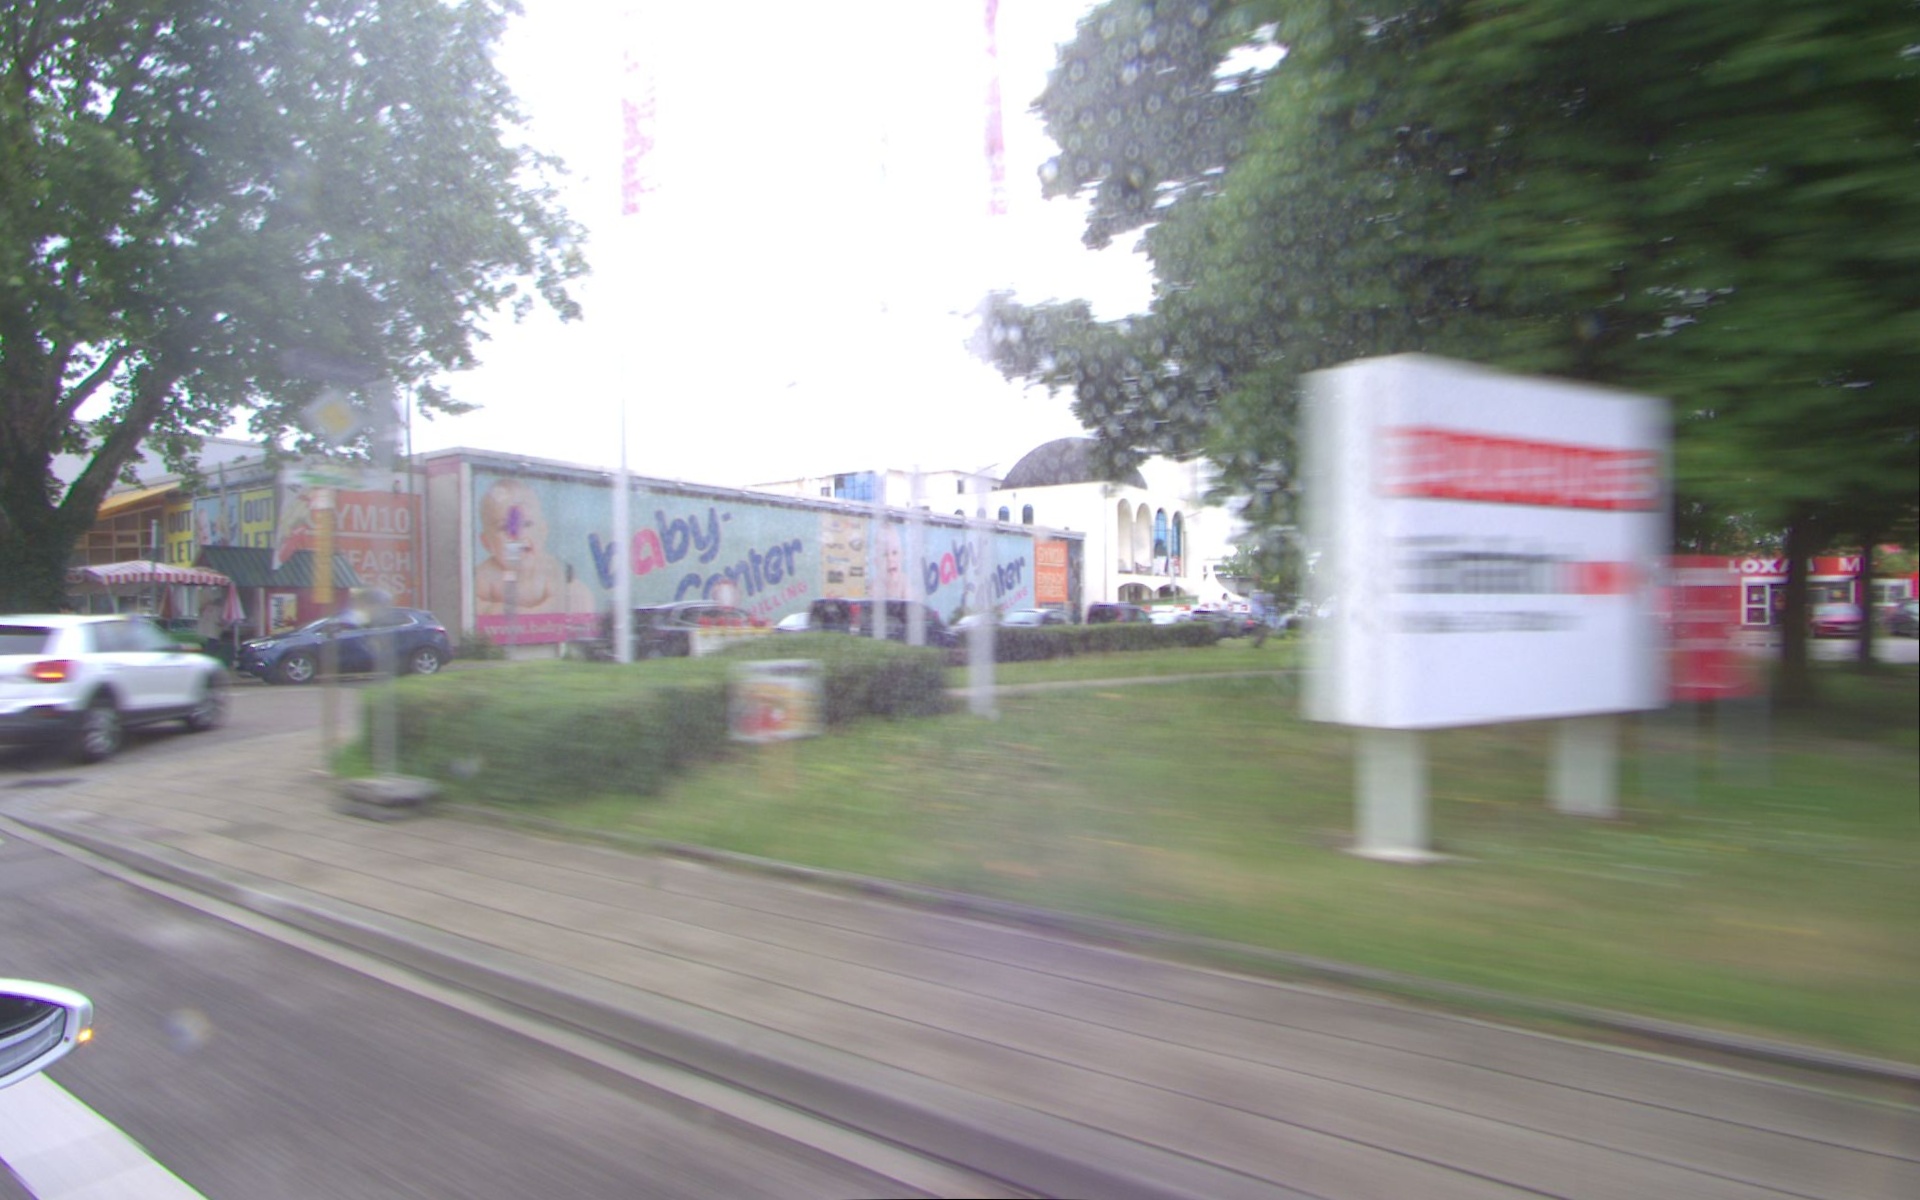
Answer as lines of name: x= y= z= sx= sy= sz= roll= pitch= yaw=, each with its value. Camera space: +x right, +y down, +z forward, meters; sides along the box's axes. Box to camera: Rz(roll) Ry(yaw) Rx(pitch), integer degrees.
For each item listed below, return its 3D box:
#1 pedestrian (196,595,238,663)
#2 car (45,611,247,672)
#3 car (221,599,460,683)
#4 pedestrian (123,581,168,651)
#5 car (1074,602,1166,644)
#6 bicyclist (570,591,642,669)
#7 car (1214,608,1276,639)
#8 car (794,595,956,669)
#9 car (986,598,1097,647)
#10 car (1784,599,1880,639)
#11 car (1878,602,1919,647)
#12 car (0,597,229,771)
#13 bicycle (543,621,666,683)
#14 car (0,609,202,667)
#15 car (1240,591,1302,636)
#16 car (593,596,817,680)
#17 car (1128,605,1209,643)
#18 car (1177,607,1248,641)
pedestrian: x=-19.238 y=0.730 z=25.917 sx=0.590 sy=1.727 sz=0.678 roll=0 pitch=1 yaw=31
car: x=-23.411 y=1.148 z=28.967 sx=1.764 sy=1.572 sz=4.206 roll=-1 pitch=0 yaw=30
car: x=-13.904 y=0.849 z=22.654 sx=1.970 sy=1.699 sz=4.192 roll=-1 pitch=0 yaw=41
pedestrian: x=-20.342 y=0.397 z=25.010 sx=0.590 sy=1.727 sz=0.678 roll=0 pitch=1 yaw=31
car: x=6.591 y=0.898 z=40.900 sx=2.044 sy=1.592 sz=4.542 roll=-1 pitch=0 yaw=33
bicyclist: x=-7.725 y=0.644 z=21.884 sx=0.807 sy=1.652 sz=1.229 roll=0 pitch=0 yaw=29
car: x=15.686 y=1.277 z=55.050 sx=2.044 sy=1.592 sz=4.542 roll=-1 pitch=0 yaw=33
car: x=-2.187 y=0.808 z=27.033 sx=2.044 sy=1.814 sz=4.543 roll=0 pitch=0 yaw=33
car: x=2.959 y=0.747 z=35.428 sx=2.044 sy=1.592 sz=4.542 roll=-1 pitch=0 yaw=33
car: x=36.419 y=0.761 z=41.968 sx=2.123 sy=1.576 sz=4.548 roll=-1 pitch=0 yaw=29
car: x=38.593 y=0.922 z=39.753 sx=2.123 sy=1.699 sz=4.548 roll=-1 pitch=0 yaw=29
car: x=-10.065 y=0.800 z=11.245 sx=1.797 sy=1.621 sz=3.768 roll=1 pitch=0 yaw=-16
bicycle: x=-7.721 y=1.092 z=21.893 sx=0.807 sy=1.228 sz=2.671 roll=-1 pitch=0 yaw=29
car: x=-25.405 y=1.073 z=29.780 sx=1.764 sy=1.572 sz=4.206 roll=-1 pitch=0 yaw=30
car: x=18.783 y=0.768 z=60.307 sx=2.044 sy=2.570 sz=5.729 roll=-1 pitch=0 yaw=33
car: x=-5.309 y=0.730 z=21.446 sx=1.965 sy=1.592 sz=4.542 roll=-1 pitch=0 yaw=33
car: x=9.438 y=1.065 z=45.092 sx=2.044 sy=1.592 sz=4.542 roll=-1 pitch=0 yaw=33
car: x=12.643 y=1.185 z=49.959 sx=2.044 sy=1.592 sz=4.542 roll=-1 pitch=0 yaw=33
